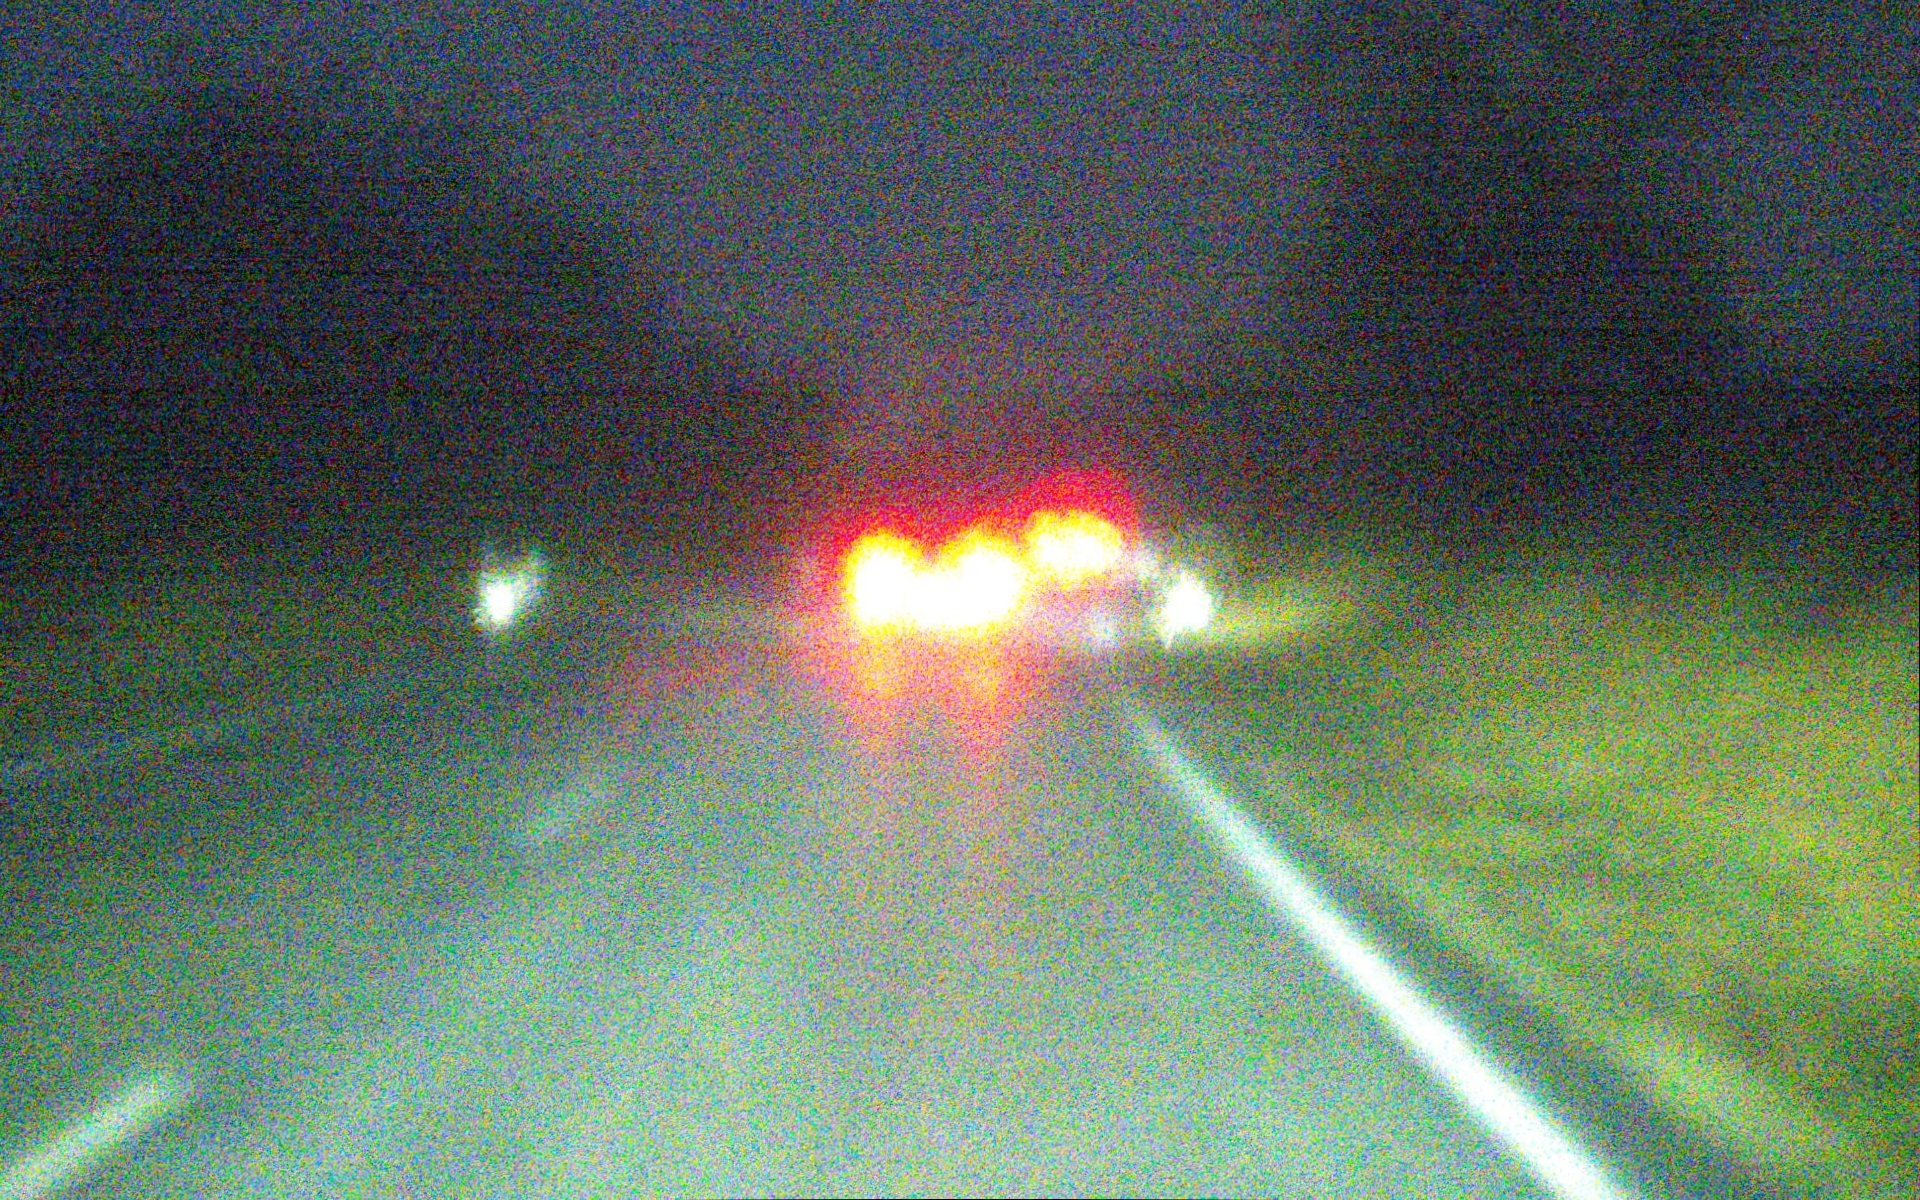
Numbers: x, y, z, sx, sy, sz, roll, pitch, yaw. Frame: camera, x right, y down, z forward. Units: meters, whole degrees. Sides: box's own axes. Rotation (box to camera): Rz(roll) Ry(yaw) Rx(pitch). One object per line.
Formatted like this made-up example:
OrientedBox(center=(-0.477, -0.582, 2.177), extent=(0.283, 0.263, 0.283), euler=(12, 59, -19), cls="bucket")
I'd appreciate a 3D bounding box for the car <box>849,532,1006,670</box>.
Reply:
OrientedBox(center=(-0.382, -0.031, 45.431), extent=(1.842, 1.734, 4.000), euler=(0, 1, 3), cls="car")
